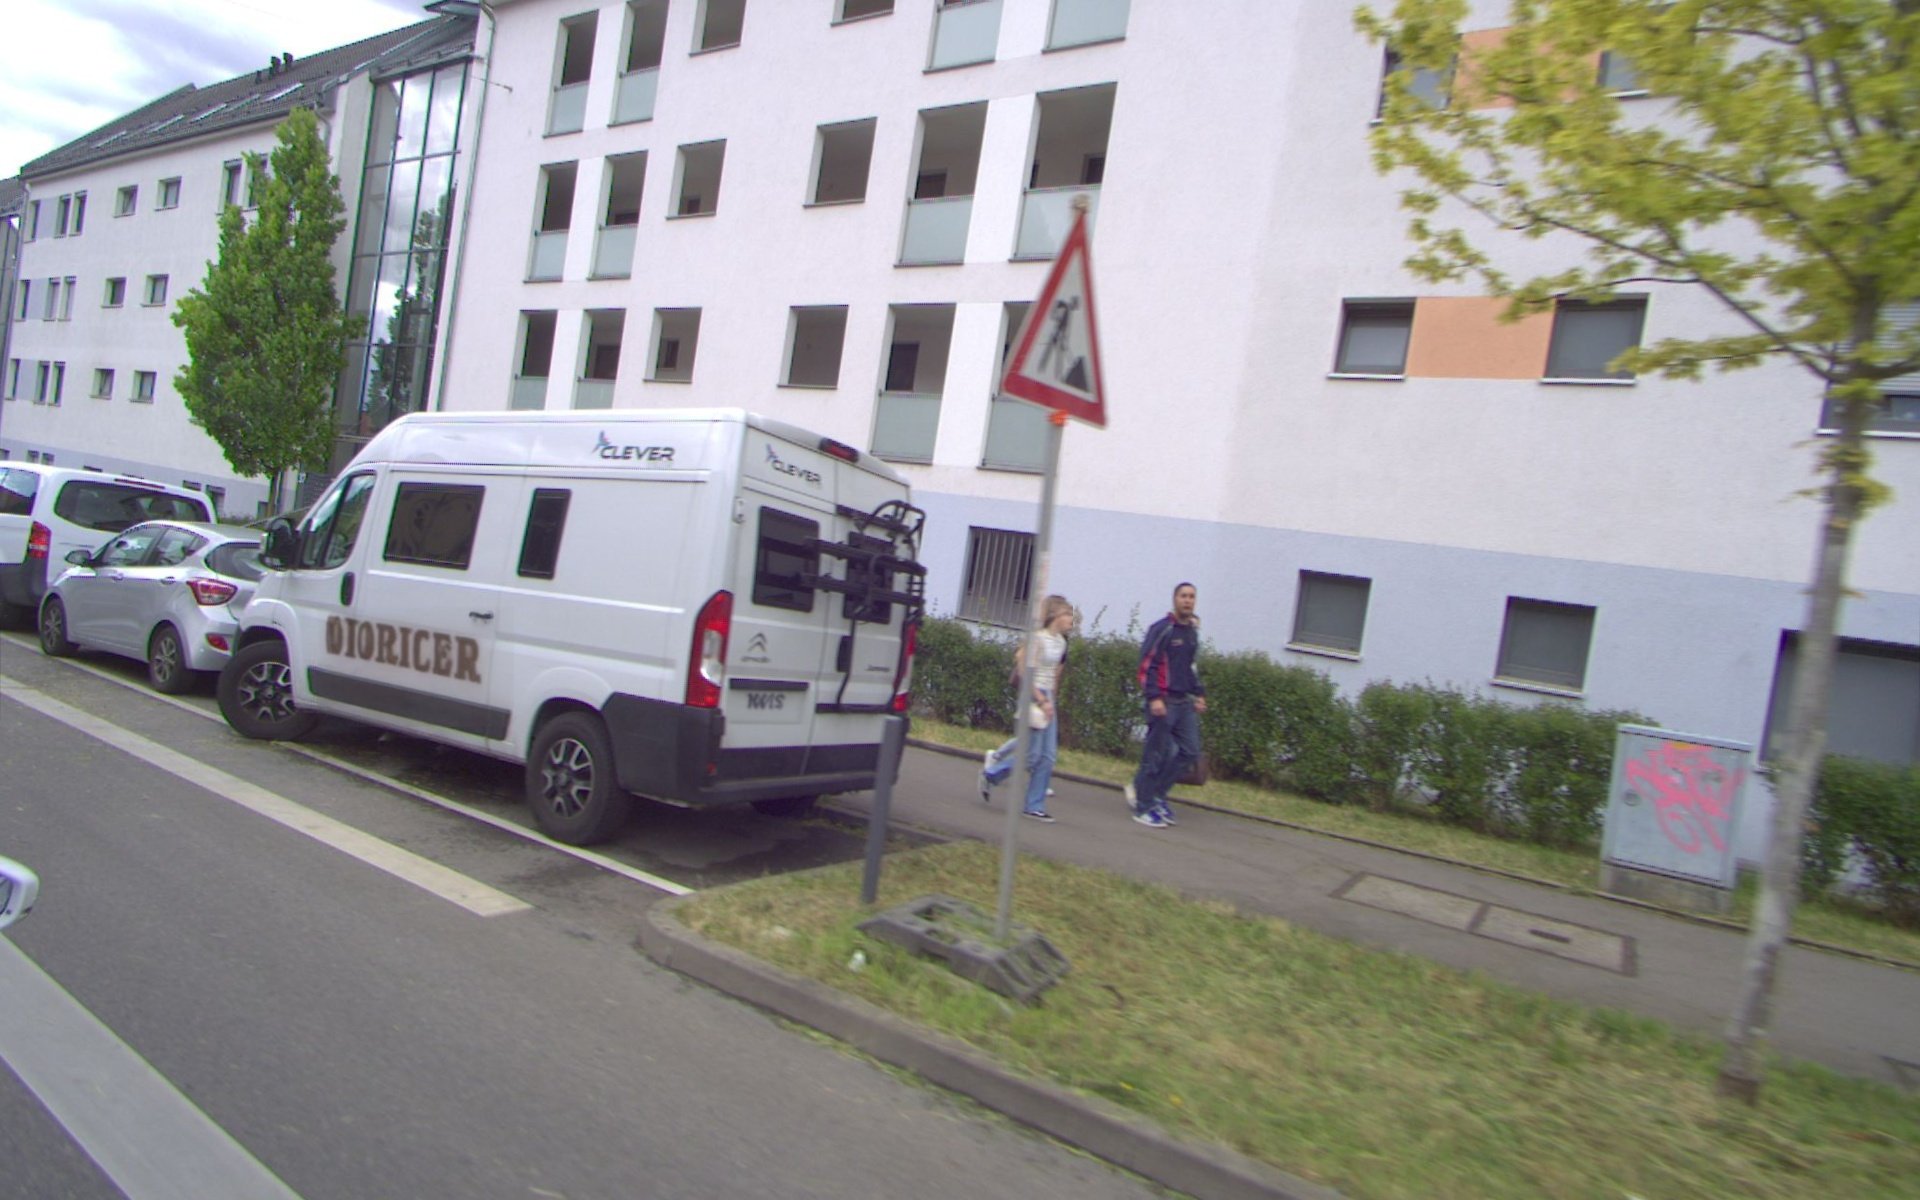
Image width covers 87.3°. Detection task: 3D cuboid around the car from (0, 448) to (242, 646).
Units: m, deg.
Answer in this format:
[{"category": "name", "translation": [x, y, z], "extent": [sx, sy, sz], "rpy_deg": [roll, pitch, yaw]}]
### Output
[{"category": "car", "translation": [-11.520, -0.789, 12.733], "extent": [5.124, 1.967, 1.997], "rpy_deg": [8, 0, 32]}]

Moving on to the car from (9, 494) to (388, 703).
[{"category": "car", "translation": [-7.593, -0.040, 9.977], "extent": [3.662, 1.503, 1.529], "rpy_deg": [8, -2, 29]}]

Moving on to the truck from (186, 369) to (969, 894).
[{"category": "truck", "translation": [-2.995, -0.069, 7.272], "extent": [5.594, 2.596, 2.056], "rpy_deg": [8, 0, 31]}]

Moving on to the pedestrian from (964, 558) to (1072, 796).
[{"category": "pedestrian", "translation": [0.511, 0.641, 8.643], "extent": [0.608, 1.910, 0.672], "rpy_deg": [6, 1, 15]}]

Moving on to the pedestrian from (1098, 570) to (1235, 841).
[{"category": "pedestrian", "translation": [1.602, 0.782, 7.748], "extent": [0.752, 1.910, 0.672], "rpy_deg": [6, 1, 20]}]

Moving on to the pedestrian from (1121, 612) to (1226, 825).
[{"category": "pedestrian", "translation": [1.775, 0.944, 8.335], "extent": [0.565, 1.628, 0.657], "rpy_deg": [7, 5, 23]}]

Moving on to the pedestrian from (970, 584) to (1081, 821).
[{"category": "pedestrian", "translation": [0.505, 0.754, 7.618], "extent": [0.551, 1.664, 0.578], "rpy_deg": [6, 1, 18]}]
